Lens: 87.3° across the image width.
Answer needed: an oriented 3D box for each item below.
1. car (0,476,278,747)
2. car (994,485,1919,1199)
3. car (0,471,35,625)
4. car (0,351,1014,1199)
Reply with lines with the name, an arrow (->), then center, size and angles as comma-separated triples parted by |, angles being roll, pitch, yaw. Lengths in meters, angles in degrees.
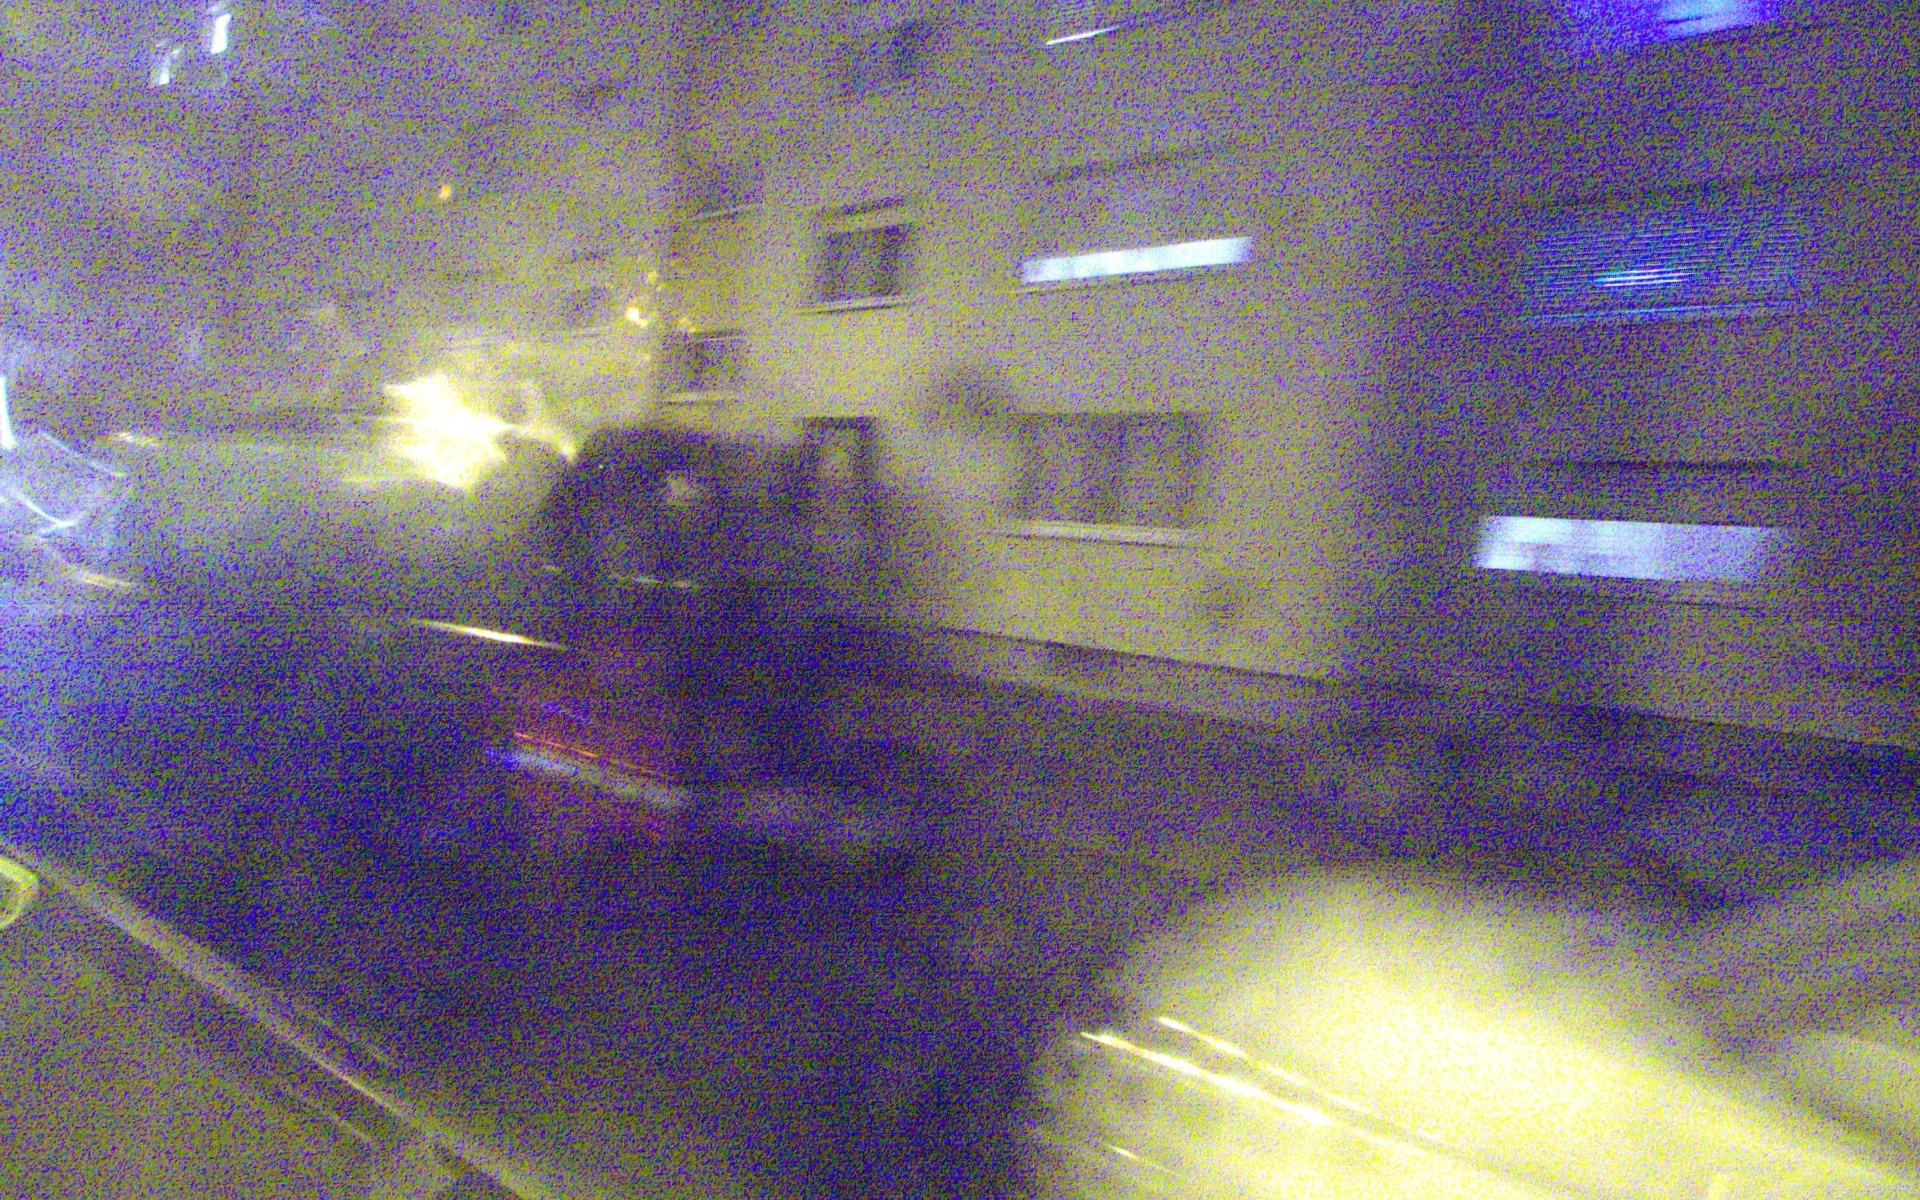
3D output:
car -> -6.960, -0.116, 7.160 | 4.058, 1.511, 1.796 | 7, 3, 29
car -> 2.205, 0.836, 1.462 | 3.883, 1.568, 1.796 | 7, 3, 29
car -> -11.257, -0.736, 10.030 | 4.207, 1.466, 1.796 | 7, 3, 30
car -> -2.834, 0.169, 4.302 | 5.752, 1.976, 1.797 | 7, 3, 28
